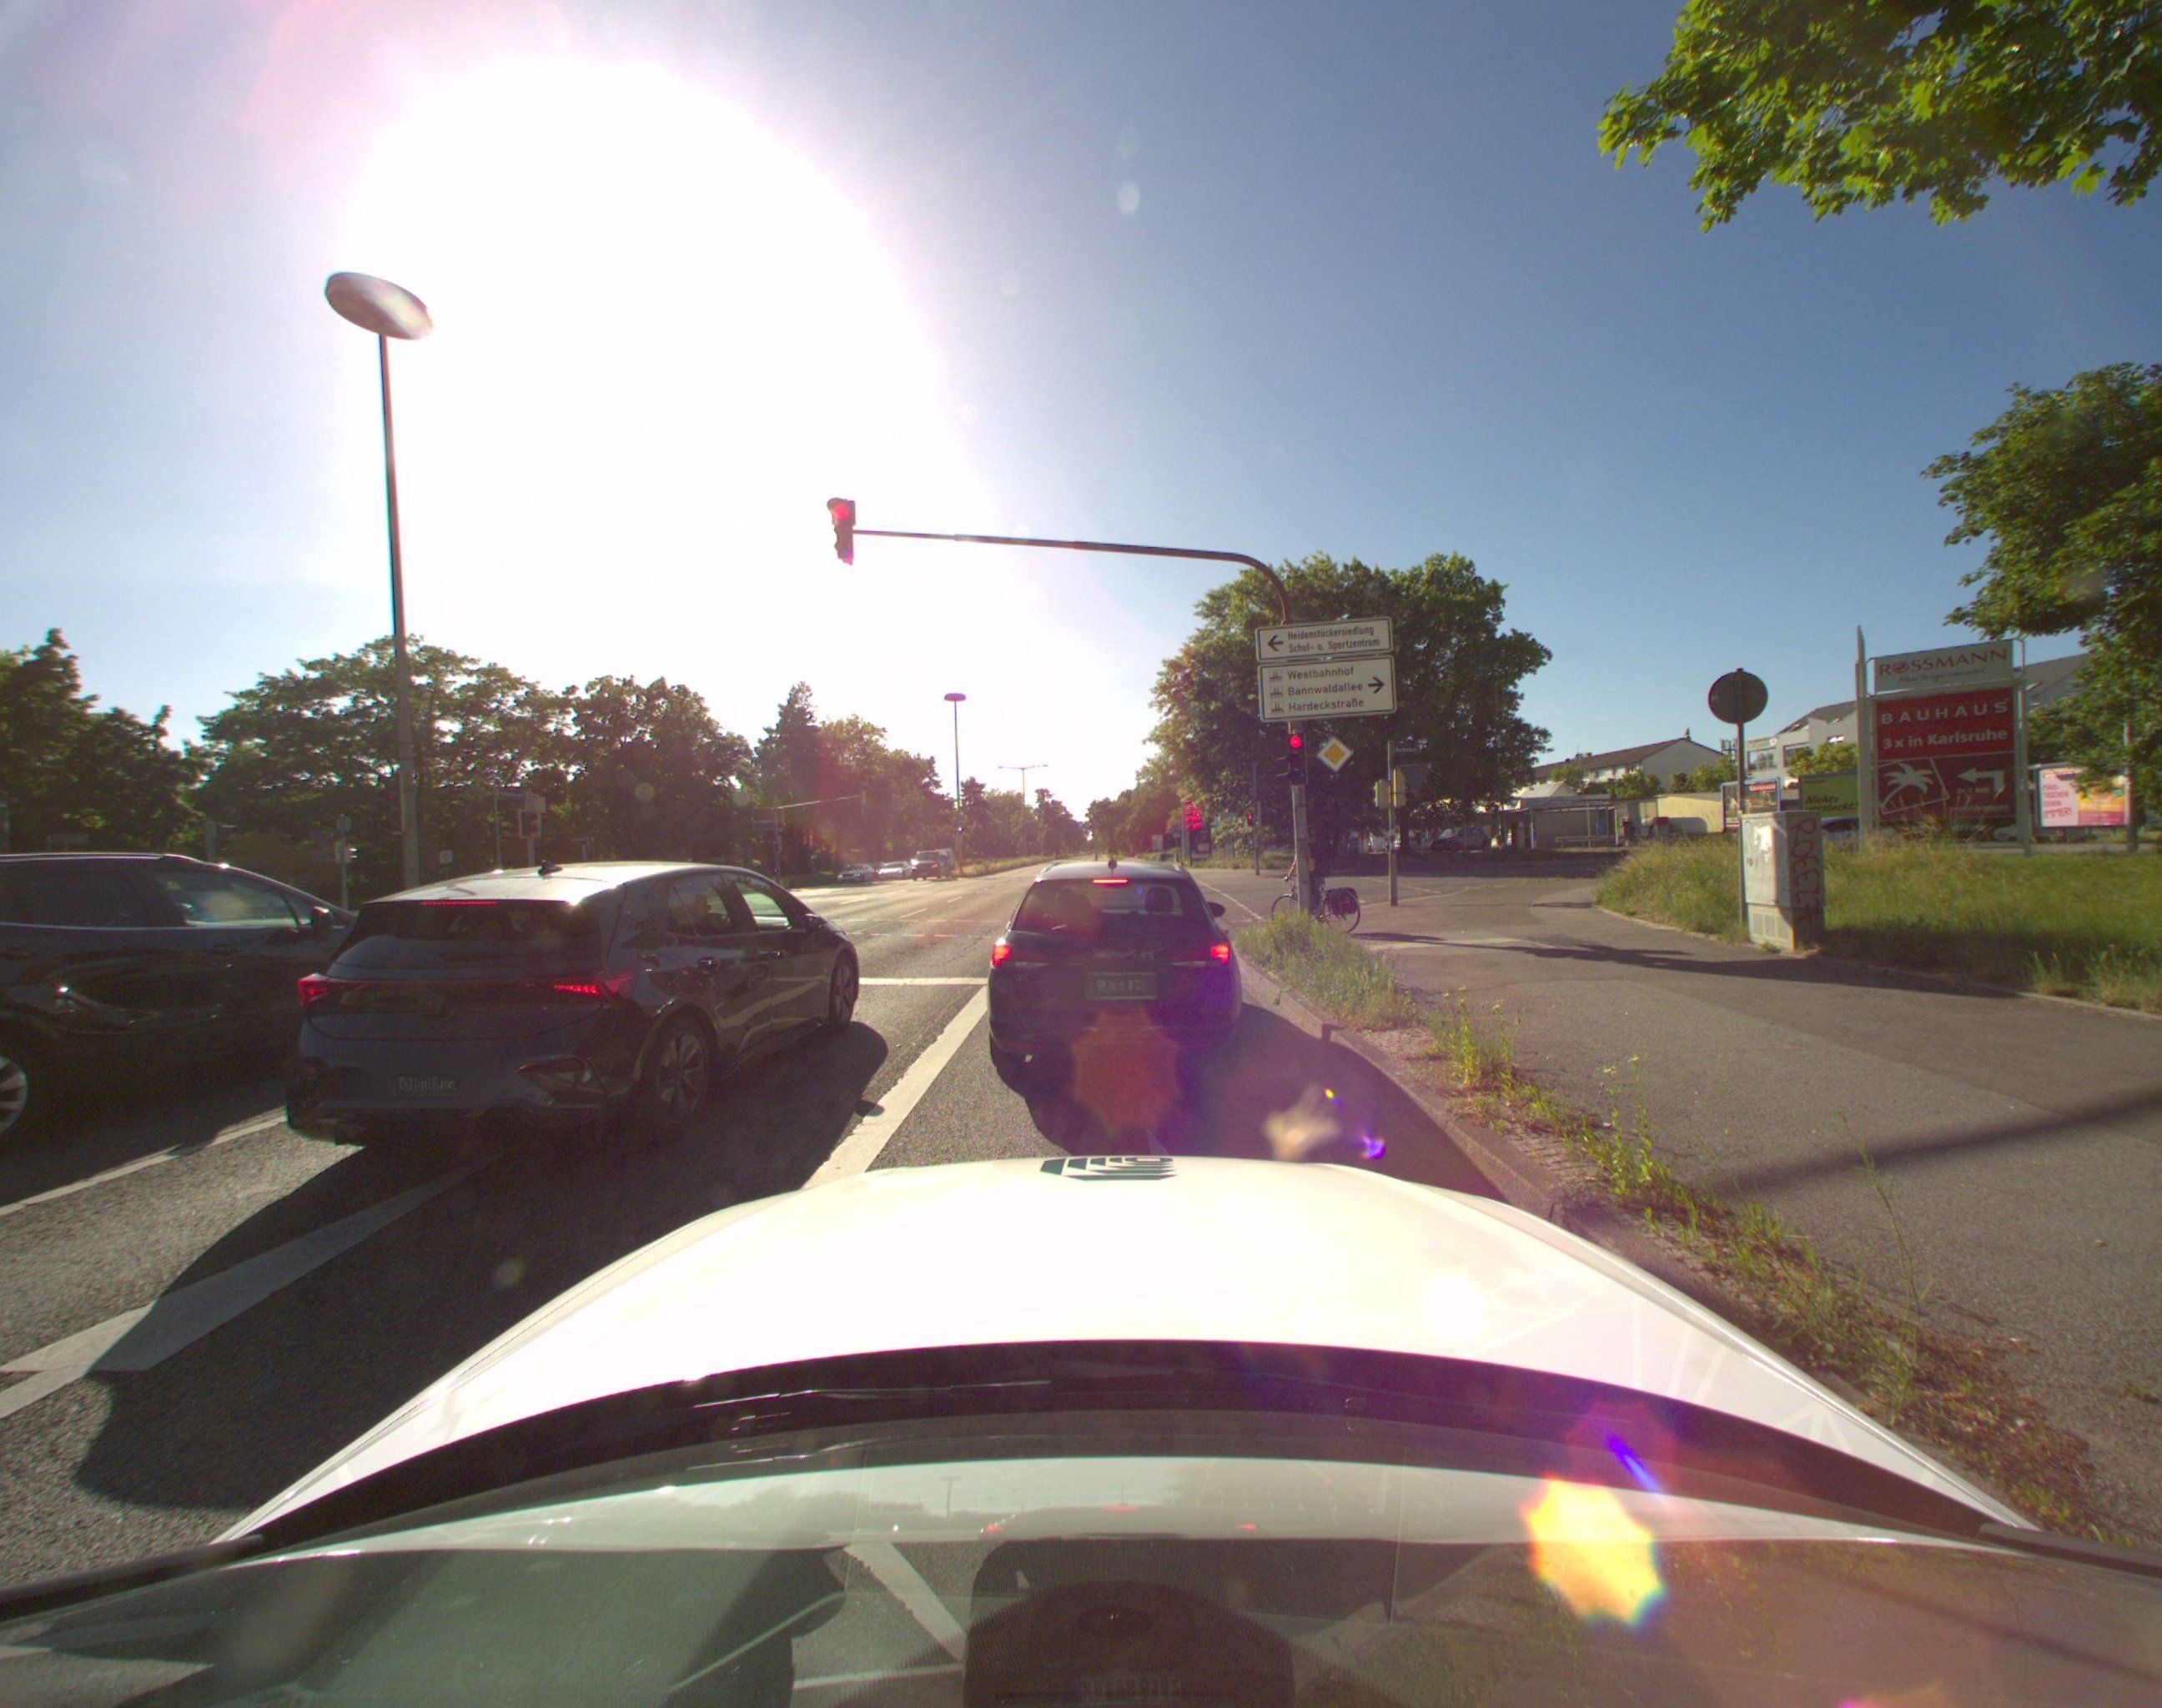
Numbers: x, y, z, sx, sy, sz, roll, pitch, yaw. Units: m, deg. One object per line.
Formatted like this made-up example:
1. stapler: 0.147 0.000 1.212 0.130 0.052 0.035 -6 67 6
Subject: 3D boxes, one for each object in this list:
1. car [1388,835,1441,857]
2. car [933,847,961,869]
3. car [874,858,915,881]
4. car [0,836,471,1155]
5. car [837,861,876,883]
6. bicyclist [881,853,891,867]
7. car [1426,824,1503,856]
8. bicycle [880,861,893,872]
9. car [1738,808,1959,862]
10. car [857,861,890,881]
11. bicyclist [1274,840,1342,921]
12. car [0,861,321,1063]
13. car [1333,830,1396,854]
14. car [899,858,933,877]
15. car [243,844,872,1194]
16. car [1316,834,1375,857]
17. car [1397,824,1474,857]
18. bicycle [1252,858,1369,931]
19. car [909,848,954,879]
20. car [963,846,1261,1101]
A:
1. car: 28.965 -0.709 70.744 3.993 1.680 1.737 -3 0 -14
2. car: -16.115 0.461 98.236 2.092 2.492 6.006 -3 0 2
3. car: -14.021 1.161 61.547 1.881 1.524 4.506 -3 0 2
4. car: -6.619 0.787 5.517 1.798 1.689 4.002 -3 0 2
5. car: -17.127 1.350 62.328 1.680 1.509 4.005 -3 0 2
6. bicyclist: -23.209 0.748 96.841 0.873 1.648 1.198 -3 0 -3
7. car: 22.377 -0.816 47.524 4.002 1.680 1.733 -3 0 -21
8. bicycle: -23.165 1.440 97.048 0.873 1.212 2.534 -3 0 -2
9. car: 25.213 -0.608 26.956 4.969 1.486 2.007 -2 0 13
10. car: -17.508 1.451 68.864 1.681 1.509 4.003 -3 0 0
11. bicyclist: 3.719 0.441 13.374 0.541 1.277 0.819 -3 -2 -42
12. car: -10.223 0.987 7.919 1.824 1.702 3.999 -3 0 0
13. car: 19.662 -0.824 56.431 3.903 1.517 1.733 -3 0 -21
14. car: -13.692 1.115 67.688 1.680 1.433 4.617 -3 0 2
15. car: -2.959 0.772 5.854 1.678 1.580 4.208 -1 0 2
16. car: 19.327 -0.617 59.524 3.903 1.517 1.733 -3 0 -21
17. car: 21.495 -0.823 49.411 4.003 1.750 1.985 -3 0 -22
18. bicycle: 3.732 0.687 13.370 0.541 1.097 1.755 -3 -2 -42
19. car: -10.234 0.629 56.191 1.904 1.992 5.017 -3 0 2
20. car: 0.250 0.725 6.963 1.750 1.495 4.208 -1 0 2
